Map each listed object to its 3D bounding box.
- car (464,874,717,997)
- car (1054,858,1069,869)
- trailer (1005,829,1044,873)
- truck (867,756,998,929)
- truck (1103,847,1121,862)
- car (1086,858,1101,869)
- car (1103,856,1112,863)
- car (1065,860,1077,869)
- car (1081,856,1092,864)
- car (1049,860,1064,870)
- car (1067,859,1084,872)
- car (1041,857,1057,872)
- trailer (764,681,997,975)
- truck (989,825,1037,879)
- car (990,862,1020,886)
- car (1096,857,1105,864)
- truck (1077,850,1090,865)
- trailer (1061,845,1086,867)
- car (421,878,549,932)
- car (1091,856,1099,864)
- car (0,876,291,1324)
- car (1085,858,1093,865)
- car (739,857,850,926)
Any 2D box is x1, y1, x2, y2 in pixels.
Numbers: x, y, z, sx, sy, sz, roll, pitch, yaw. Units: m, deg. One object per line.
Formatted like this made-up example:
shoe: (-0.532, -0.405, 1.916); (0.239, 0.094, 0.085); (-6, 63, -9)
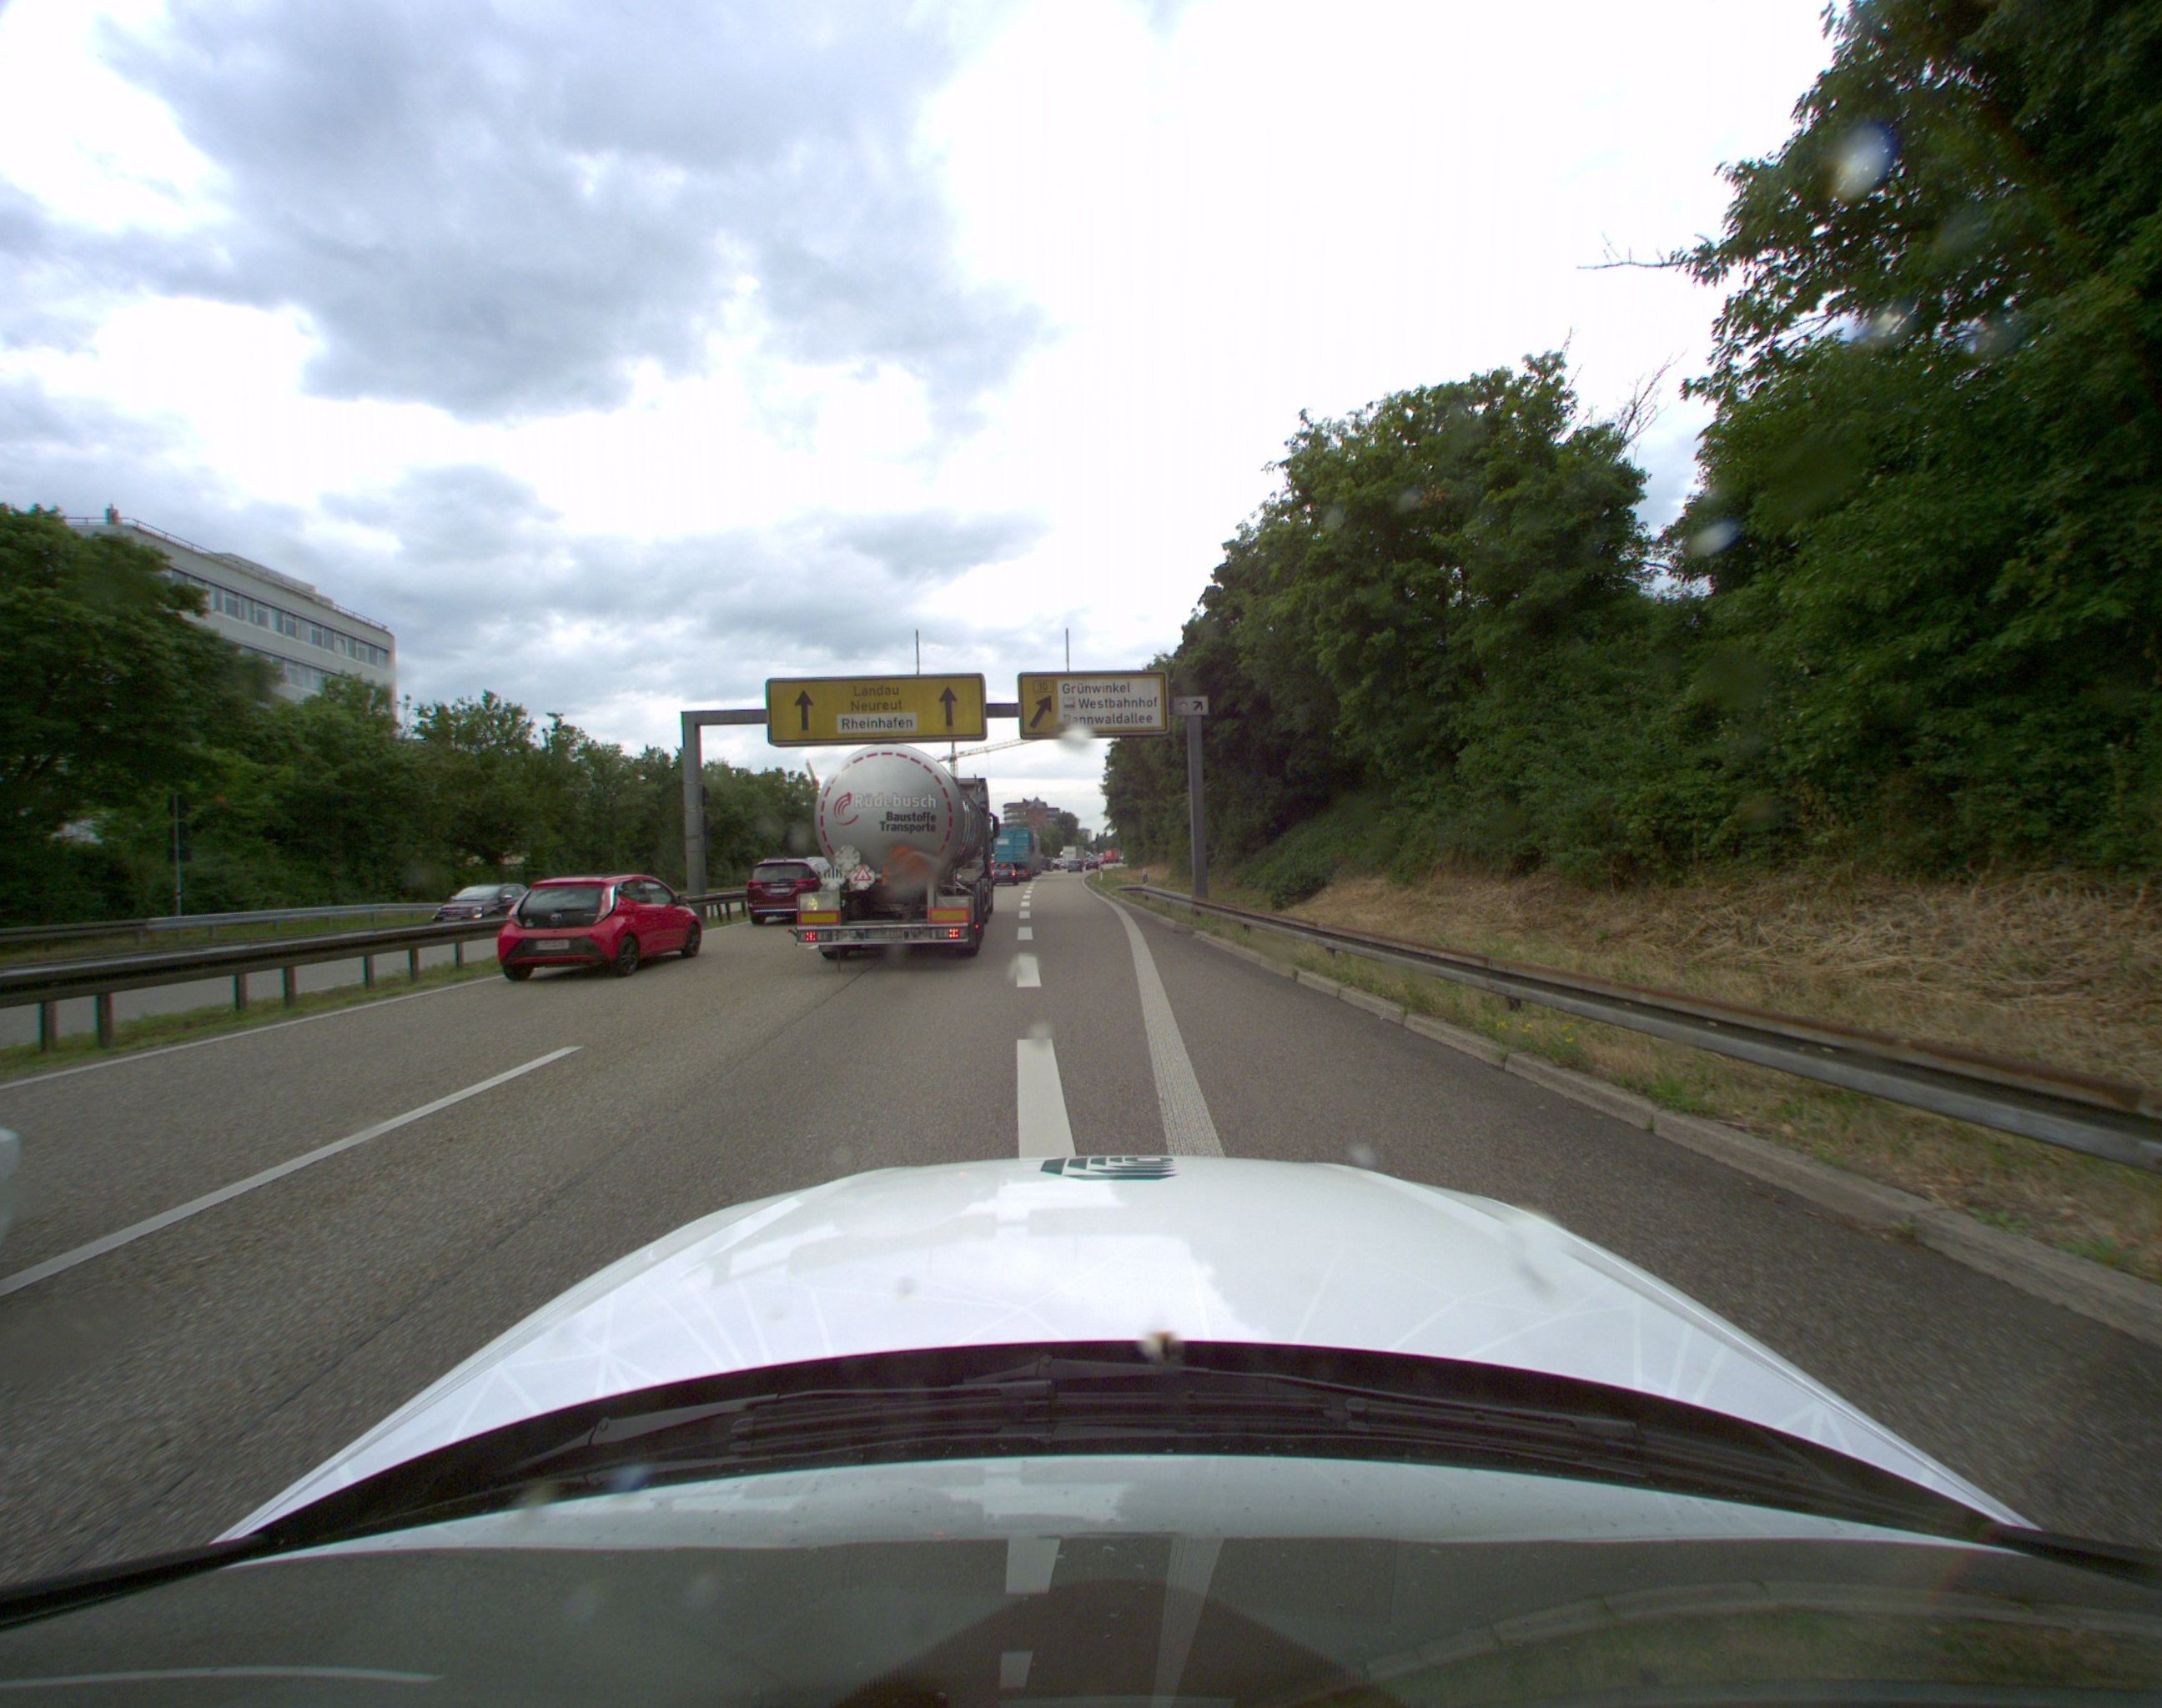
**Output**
car: (-7.267, 1.099, 12.610); (1.624, 1.524, 4.084); (-1, -1, -4)
car: (-3.173, 1.535, 133.145); (1.947, 1.695, 4.873); (-2, 0, 5)
trailer: (-5.557, -0.166, 82.029); (2.617, 4.023, 13.466); (-1, -1, 1)
truck: (-3.762, -0.255, 22.233); (2.678, 3.907, 6.924); (-2, 0, -5)
truck: (8.670, 0.096, 228.674); (3.470, 4.073, 13.623); (-3, 0, 8)
car: (1.788, 1.363, 117.297); (1.817, 1.483, 4.005); (-2, 0, 4)
car: (7.044, 1.464, 217.000); (1.983, 2.013, 4.008); (-2, 0, 7)
car: (-1.699, 1.885, 143.505); (1.757, 1.478, 4.093); (-4, 0, 4)
car: (1.196, 1.367, 184.047); (1.790, 1.604, 4.268); (-4, 0, 8)
car: (-3.552, 1.598, 120.167); (1.840, 1.460, 4.834); (-2, 0, 2)
car: (-0.656, 1.385, 100.796); (1.818, 1.482, 4.001); (-3, 0, 1)
car: (-4.296, 1.343, 108.274); (1.983, 1.898, 4.979); (-2, 0, -3)
trailer: (-3.279, -0.349, 16.549); (2.678, 3.907, 10.968); (-2, 0, -5)
truck: (-5.248, -0.097, 64.830); (2.921, 3.796, 11.323); (-3, 0, -1)
car: (-4.865, 1.267, 52.773); (1.744, 1.422, 3.659); (-2, 0, -3)
car: (4.655, 1.530, 198.399); (1.707, 1.684, 4.009); (-1, -1, 8)
truck: (0.871, 0.985, 237.021); (2.725, 4.138, 10.713); (-1, -1, 5)
trailer: (-1.313, 0.484, 156.464); (3.282, 4.036, 13.120); (-1, -1, 6)
car: (-19.338, 1.612, 26.627); (1.571, 1.496, 3.826); (-2, 0, -5)
car: (3.862, 1.643, 225.663); (1.808, 2.013, 4.008); (-2, 0, 7)
car: (-4.523, 0.855, 1.057); (2.054, 1.464, 5.250); (-2, 0, -4)
car: (1.767, 1.724, 186.806); (1.523, 1.552, 3.423); (-2, 0, 5)
car: (-7.735, 0.969, 22.387); (1.873, 1.707, 3.993); (-1, -1, -5)
